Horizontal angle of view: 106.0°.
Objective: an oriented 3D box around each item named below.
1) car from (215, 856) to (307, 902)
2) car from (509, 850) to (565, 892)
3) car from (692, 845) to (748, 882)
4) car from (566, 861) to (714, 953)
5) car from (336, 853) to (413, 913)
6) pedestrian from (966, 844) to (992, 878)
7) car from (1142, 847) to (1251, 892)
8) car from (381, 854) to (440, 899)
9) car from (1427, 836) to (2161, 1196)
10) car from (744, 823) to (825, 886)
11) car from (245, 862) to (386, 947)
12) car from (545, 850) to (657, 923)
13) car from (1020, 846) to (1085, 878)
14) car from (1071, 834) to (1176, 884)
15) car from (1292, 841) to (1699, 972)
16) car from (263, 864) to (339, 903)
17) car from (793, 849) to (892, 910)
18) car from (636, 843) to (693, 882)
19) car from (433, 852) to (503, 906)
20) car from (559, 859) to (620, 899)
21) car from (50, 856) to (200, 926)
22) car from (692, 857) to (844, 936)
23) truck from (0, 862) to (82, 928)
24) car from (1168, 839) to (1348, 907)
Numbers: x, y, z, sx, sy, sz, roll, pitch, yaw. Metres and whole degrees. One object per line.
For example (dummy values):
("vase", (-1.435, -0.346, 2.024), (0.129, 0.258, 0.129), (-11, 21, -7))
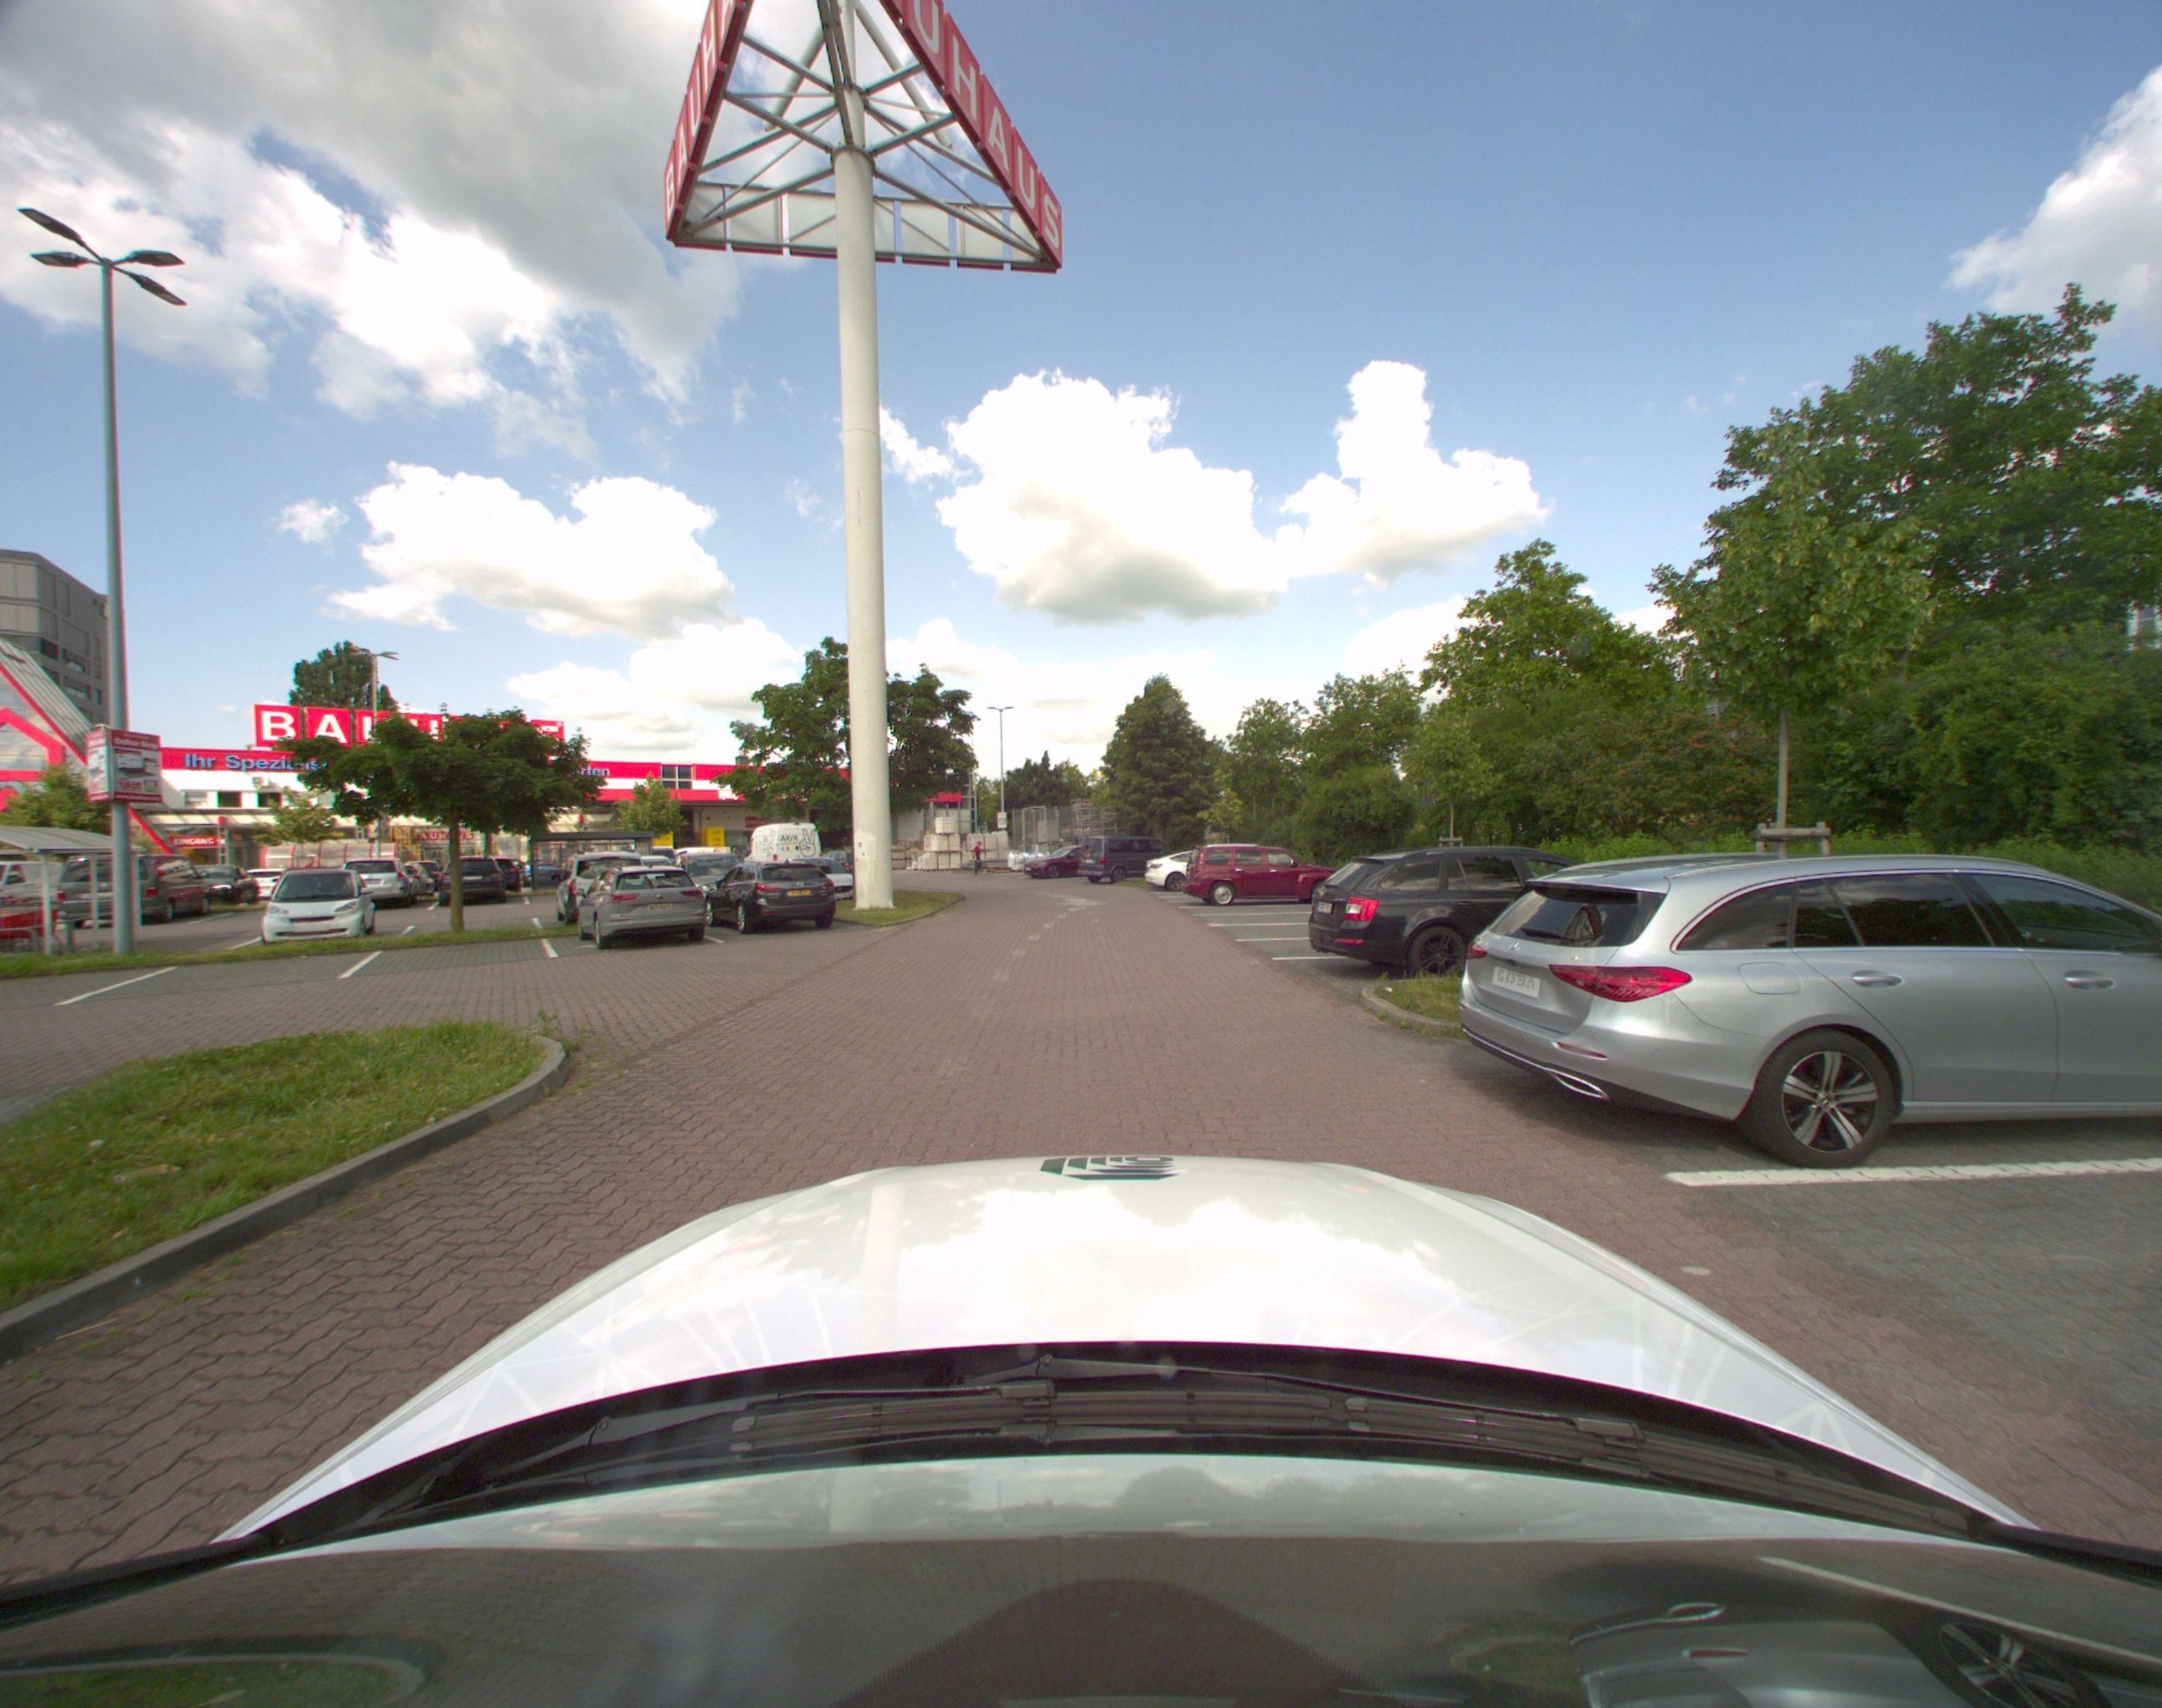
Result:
("car", (-37.580, 1.137, 37.450), (2.006, 2.014, 3.960), (2, -2, -31))
("car", (-27.768, 0.893, 41.524), (2.010, 2.014, 3.954), (2, -2, -39))
("car", (-20.872, 0.582, 47.026), (2.010, 2.014, 3.954), (2, -2, -39))
("car", (-8.428, 0.909, 15.423), (1.734, 1.446, 3.729), (-2, 1, -40))
("car", (-23.050, 0.918, 26.652), (1.610, 1.743, 3.131), (-3, 1, -37))
("pedestrian", (-5.043, 0.335, 40.204), (0.911, 1.665, 0.789), (-2, 0, 27))
("car", (4.064, 0.537, 29.055), (3.622, 1.468, 1.633), (-1, -1, -2))
("car", (-31.627, 1.074, 38.496), (2.010, 2.014, 3.954), (2, -2, -39))
("car", (4.685, 0.718, 4.691), (4.627, 1.504, 1.783), (-2, 0, -2))
("car", (-12.654, 0.001, 34.566), (2.062, 2.510, 4.677), (-1, 0, -35))
("car", (-16.852, 1.020, 18.124), (1.727, 1.596, 3.956), (-2, 1, -35))
("car", (-12.067, 0.753, 20.348), (1.919, 1.596, 3.955), (-2, 0, -37))
("car", (-1.334, 0.383, 38.030), (2.696, 1.432, 1.342), (1, -2, -28))
("car", (1.831, 0.223, 34.521), (4.071, 2.019, 1.927), (0, -1, -32))
("car", (4.722, 0.580, 9.654), (3.977, 1.381, 1.697), (0, -2, -3))
("car", (-28.268, 1.062, 29.603), (1.751, 1.340, 3.425), (2, -2, -41))
("car", (-7.195, 0.706, 24.332), (2.005, 1.618, 3.963), (-2, 0, -29))
("car", (-22.906, 0.494, 44.730), (2.010, 2.014, 3.954), (2, -2, -39))
("car", (-21.082, 0.806, 28.032), (1.773, 1.524, 3.432), (-4, 4, -37))
("car", (-18.259, 0.913, 30.181), (1.550, 1.405, 3.585), (2, -2, -37))
("car", (-27.213, 0.997, 23.354), (2.010, 1.778, 3.954), (-2, 0, -39))
("car", (-6.838, 0.844, 17.563), (1.837, 1.439, 4.043), (-2, 1, -40))
("truck", (-35.059, 1.286, 26.360), (1.867, 2.014, 5.350), (2, -2, -34))
("car", (4.606, 0.468, 21.611), (4.295, 1.596, 1.998), (-2, 0, -3))
